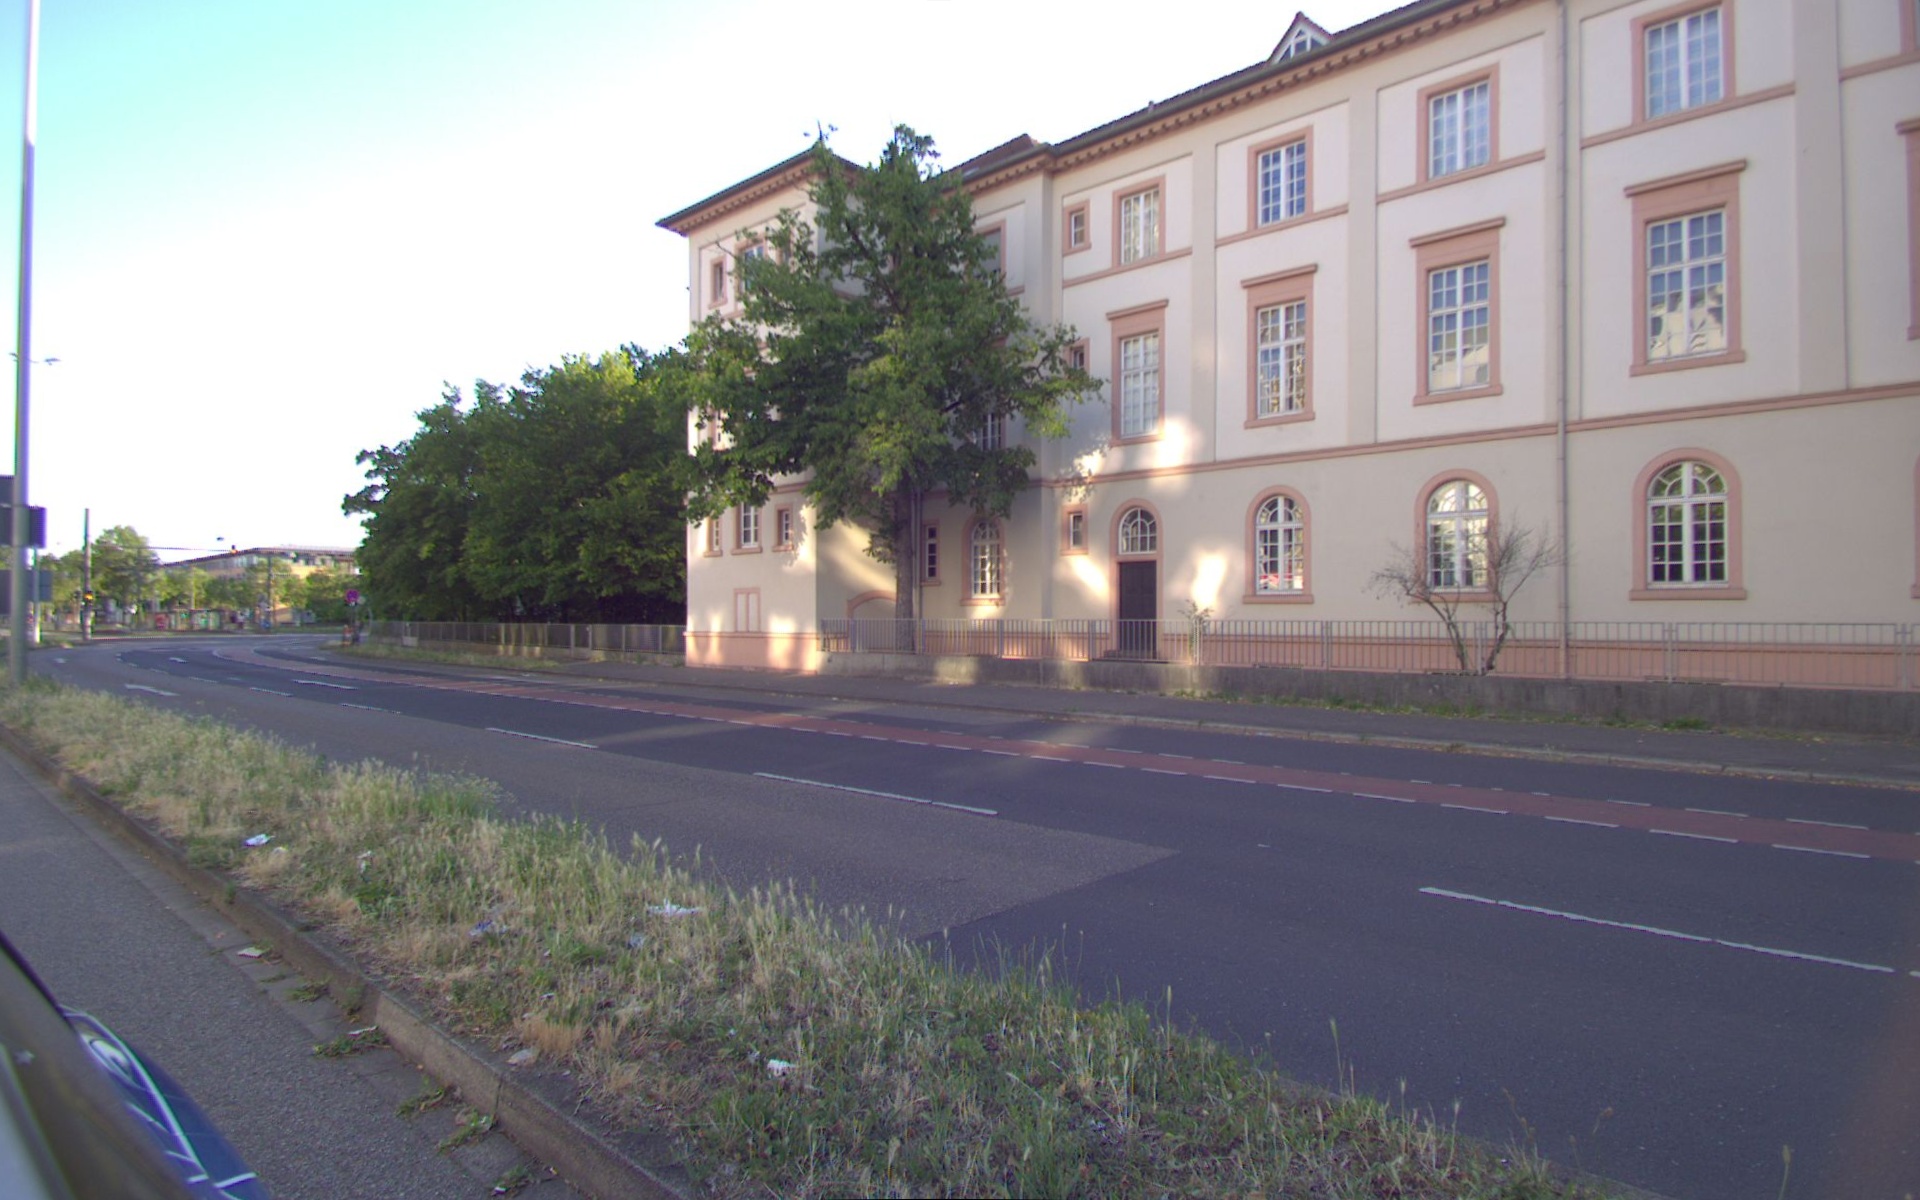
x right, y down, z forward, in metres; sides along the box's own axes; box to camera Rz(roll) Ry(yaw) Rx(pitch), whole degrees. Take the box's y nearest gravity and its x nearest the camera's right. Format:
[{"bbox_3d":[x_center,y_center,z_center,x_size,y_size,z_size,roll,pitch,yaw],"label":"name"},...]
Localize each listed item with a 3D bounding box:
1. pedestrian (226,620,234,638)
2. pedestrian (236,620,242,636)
[{"bbox_3d":[-80.167,3.198,111.160,0.664,2.029,0.549,-1,-2,41],"label":"pedestrian"},{"bbox_3d":[-79.439,3.069,111.518,0.419,1.718,0.461,-1,-2,41],"label":"pedestrian"}]
